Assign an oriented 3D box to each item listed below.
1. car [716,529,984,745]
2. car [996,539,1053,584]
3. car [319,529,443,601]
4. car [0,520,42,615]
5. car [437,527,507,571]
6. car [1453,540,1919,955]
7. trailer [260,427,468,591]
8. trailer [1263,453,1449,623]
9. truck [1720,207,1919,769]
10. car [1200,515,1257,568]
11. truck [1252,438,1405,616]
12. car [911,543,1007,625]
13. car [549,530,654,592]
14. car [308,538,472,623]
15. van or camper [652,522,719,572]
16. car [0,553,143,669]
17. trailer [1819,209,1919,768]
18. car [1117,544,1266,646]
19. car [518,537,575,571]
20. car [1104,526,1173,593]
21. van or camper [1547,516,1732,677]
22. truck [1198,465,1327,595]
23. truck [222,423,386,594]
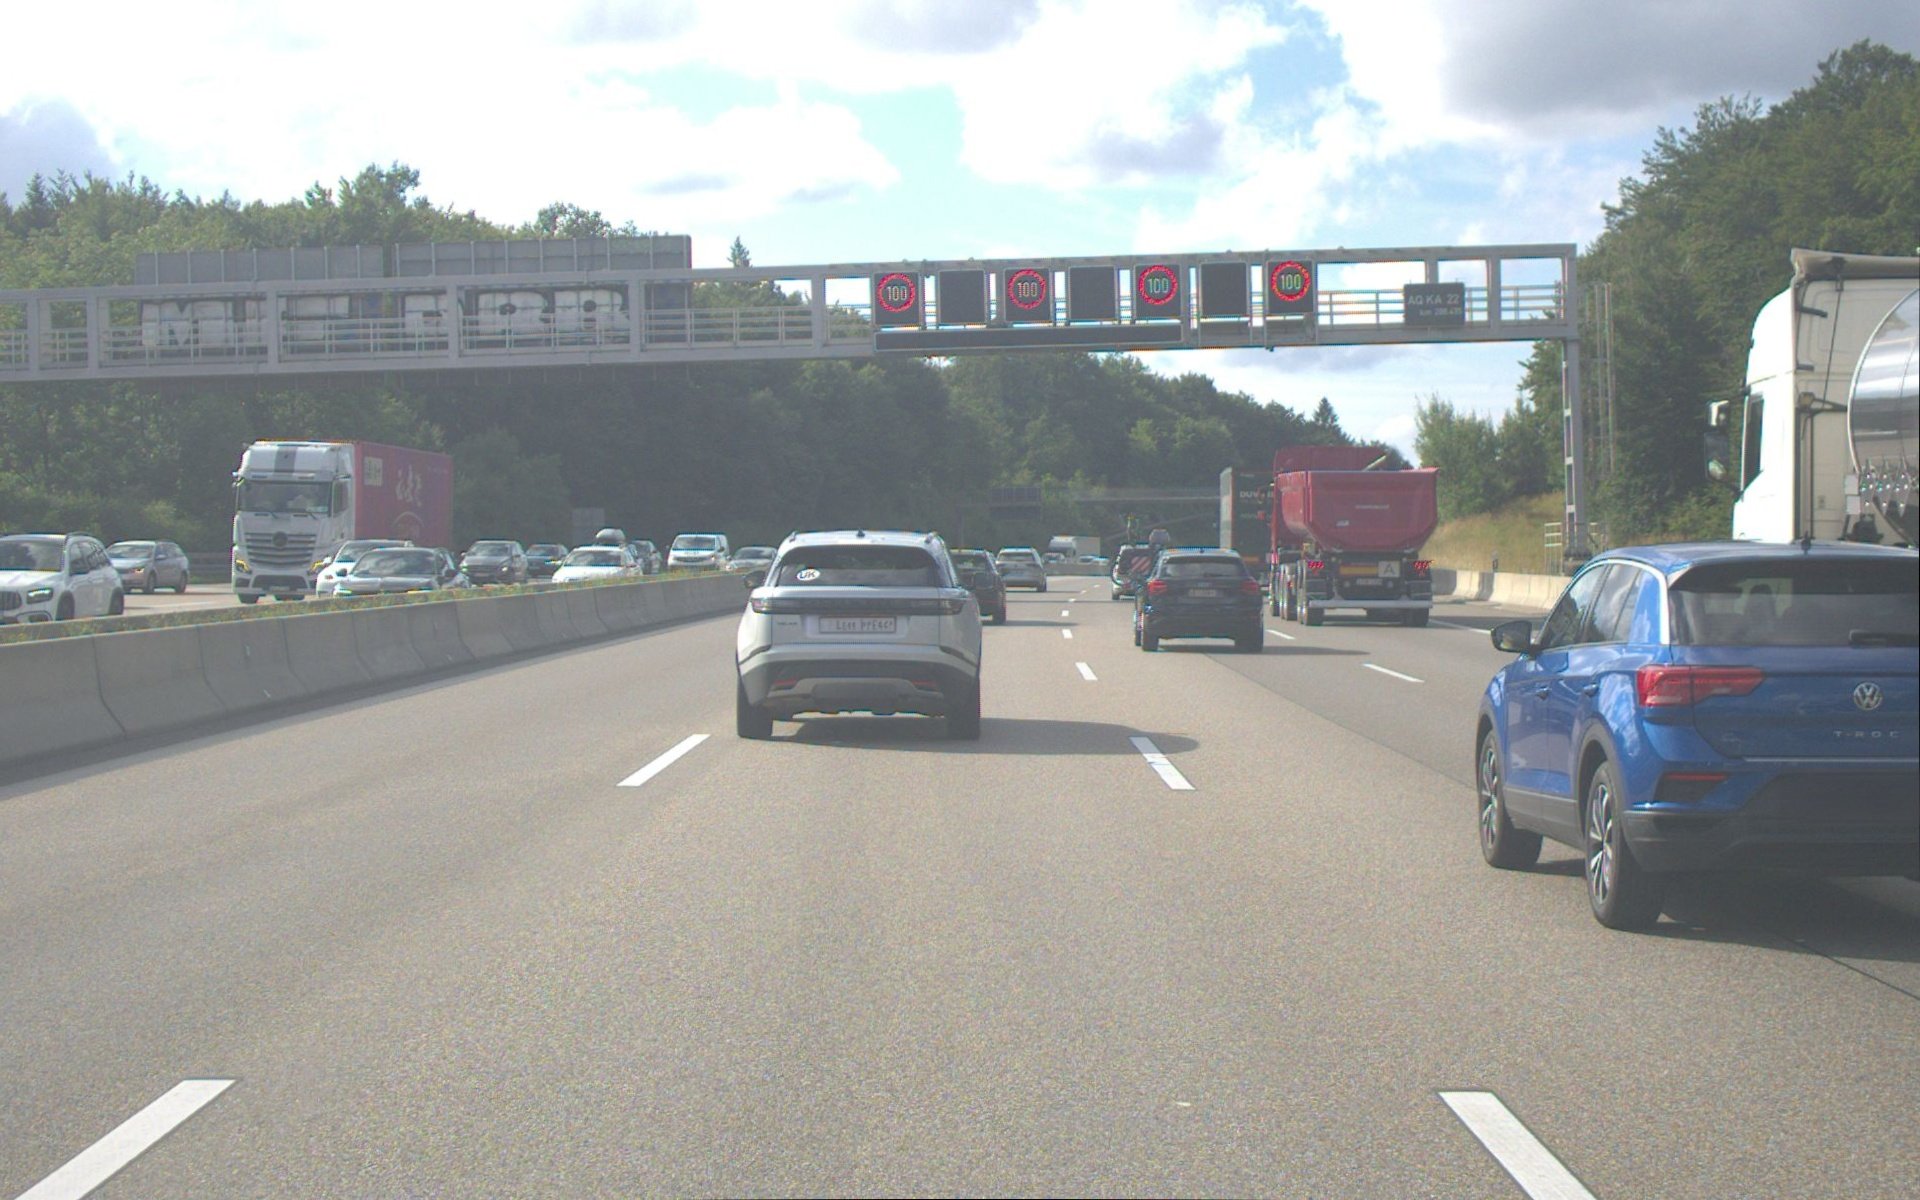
[{"bbox_3d":[-0.868,0.228,28.589,2.006,1.611,5.301,1,1,-1],"label":"car"},{"bbox_3d":[2.158,-1.281,114.355,1.822,1.452,4.000,1,1,2],"label":"car"},{"bbox_3d":[-12.716,-0.789,75.764,1.857,1.520,4.995,0,1,0],"label":"car"},{"bbox_3d":[-17.267,-0.565,58.678,1.793,1.612,5.045,0,1,1],"label":"car"},{"bbox_3d":[-15.950,-1.675,112.580,1.638,1.411,4.000,1,1,1],"label":"car"},{"bbox_3d":[3.391,0.518,14.896,1.773,1.525,4.458,0,1,-1],"label":"car"},{"bbox_3d":[-15.927,-2.412,92.998,2.739,4.092,13.416,1,1,2],"label":"trailer"},{"bbox_3d":[7.947,-1.287,70.166,2.710,3.220,9.733,1,1,0],"label":"trailer"},{"bbox_3d":[7.790,-0.825,26.303,2.649,3.810,6.082,0,1,1],"label":"truck"},{"bbox_3d":[9.517,-2.080,122.173,1.894,1.850,4.100,1,1,3],"label":"car"},{"bbox_3d":[7.970,-1.594,74.959,2.710,3.706,5.818,1,1,0],"label":"truck"},{"bbox_3d":[0.005,-0.342,68.026,1.822,1.541,4.000,0,1,1],"label":"car"},{"bbox_3d":[-8.725,-0.972,84.011,1.770,1.437,4.850,1,1,4],"label":"car"},{"bbox_3d":[-9.614,-0.365,58.314,1.993,1.357,4.620,1,1,0],"label":"car"},{"bbox_3d":[-10.417,-2.016,130.674,1.862,1.844,5.155,1,1,3],"label":"van or camper"},{"bbox_3d":[-13.555,0.123,50.696,1.708,1.588,4.943,0,1,2],"label":"car"},{"bbox_3d":[7.743,-0.691,19.964,2.649,3.754,11.860,0,1,1],"label":"trailer"},{"bbox_3d":[3.416,-0.106,51.387,1.822,1.452,4.000,0,1,-2],"label":"car"},{"bbox_3d":[-17.885,-2.009,148.845,1.701,1.435,4.707,1,1,2],"label":"car"},{"bbox_3d":[5.075,-1.167,97.792,1.894,1.850,4.100,0,1,3],"label":"car"},{"bbox_3d":[10.150,-0.094,51.685,1.822,2.299,4.939,0,1,0],"label":"van or camper"},{"bbox_3d":[9.554,-2.226,109.600,3.118,3.921,10.411,0,1,0],"label":"truck"},{"bbox_3d":[-16.248,-2.256,85.500,2.739,4.092,5.764,1,1,2],"label":"truck"}]
